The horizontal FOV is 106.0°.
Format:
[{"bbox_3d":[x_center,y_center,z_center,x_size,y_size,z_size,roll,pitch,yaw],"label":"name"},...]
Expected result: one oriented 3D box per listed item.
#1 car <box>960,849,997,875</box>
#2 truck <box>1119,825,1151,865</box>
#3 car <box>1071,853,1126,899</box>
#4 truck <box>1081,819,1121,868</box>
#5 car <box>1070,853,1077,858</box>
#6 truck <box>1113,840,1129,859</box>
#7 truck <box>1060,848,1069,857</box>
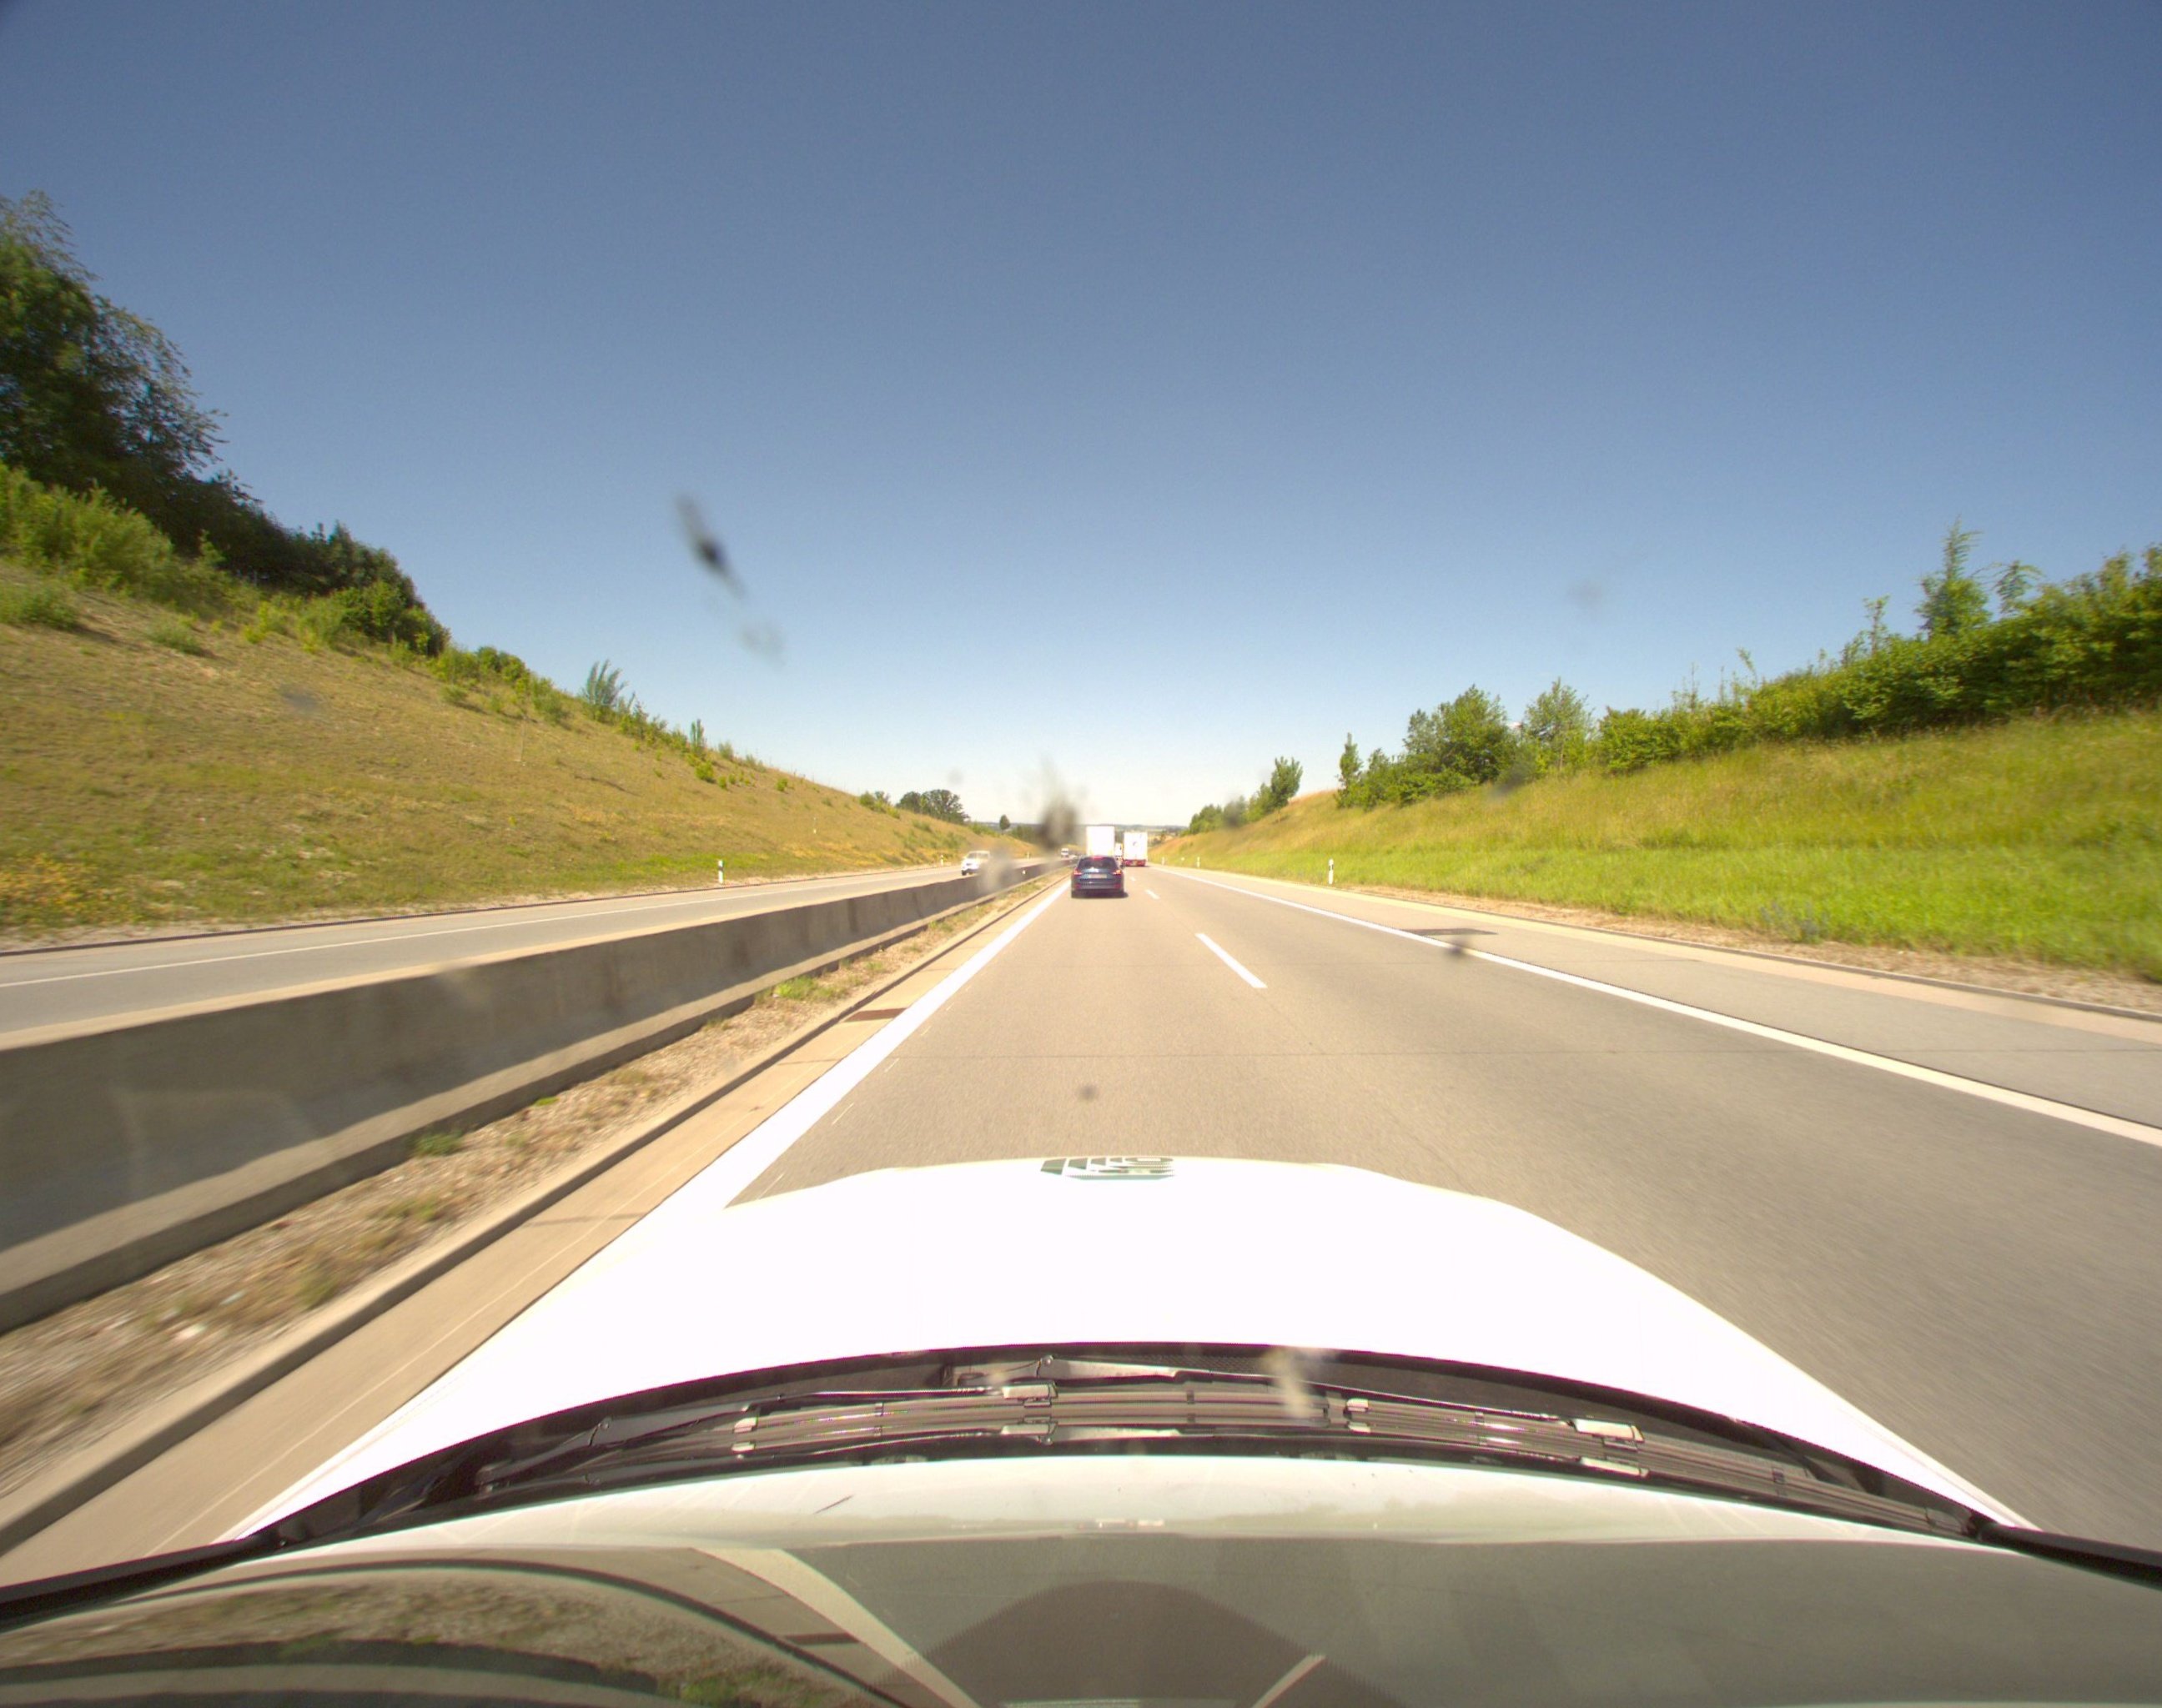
[{"bbox_3d":[-6.530,0.492,52.423,1.769,1.601,4.040,0,0,1],"label":"car"},{"bbox_3d":[6.448,-1.033,96.576,3.588,4.381,11.247,0,0,4],"label":"truck"},{"bbox_3d":[0.592,0.722,28.410,1.771,1.441,3.789,-1,0,0],"label":"car"},{"bbox_3d":[2.070,-0.939,78.417,3.196,4.381,11.248,0,0,5],"label":"truck"},{"bbox_3d":[-1.968,0.372,205.764,1.768,1.449,4.182,0,0,0],"label":"car"},{"bbox_3d":[10.014,-1.073,200.826,3.588,4.381,11.247,0,0,4],"label":"truck"},{"bbox_3d":[-4.589,-0.418,226.892,1.986,2.449,5.669,1,0,1],"label":"truck"}]
